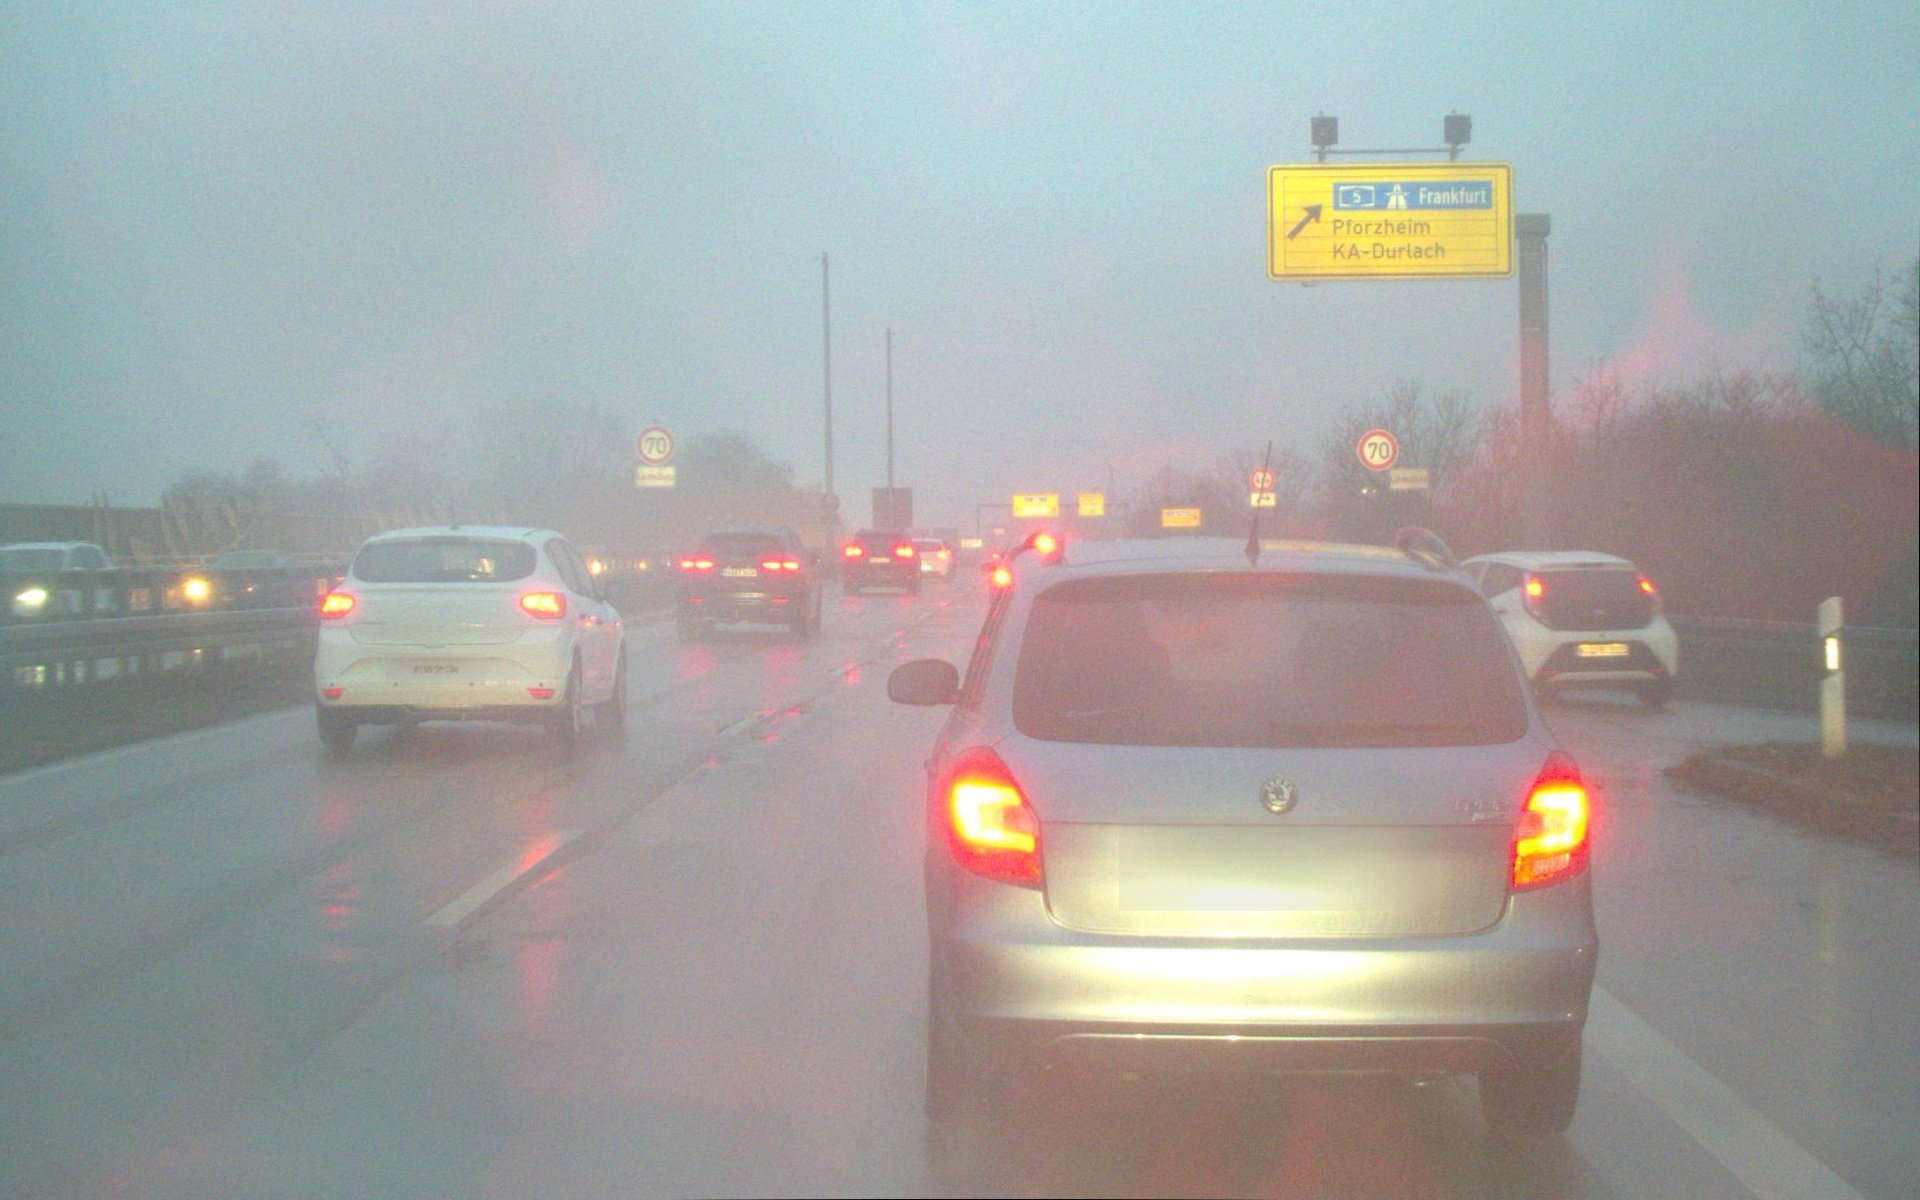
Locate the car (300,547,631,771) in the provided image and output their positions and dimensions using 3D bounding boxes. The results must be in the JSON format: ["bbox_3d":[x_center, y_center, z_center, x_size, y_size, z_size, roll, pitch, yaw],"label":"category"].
[{"bbox_3d":[-3.435,0.352,24.582,1.724,1.435,4.226,0,1,1],"label":"car"}]

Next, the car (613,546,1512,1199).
[{"bbox_3d":[0.277,0.604,9.732,1.993,1.495,4.137,0,1,1],"label":"car"}]

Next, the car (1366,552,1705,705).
[{"bbox_3d":[5.496,0.230,33.344,1.993,1.341,4.001,0,1,-10],"label":"car"}]

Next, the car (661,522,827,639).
[{"bbox_3d":[-3.133,-0.316,50.679,1.993,1.596,4.308,1,1,2],"label":"car"}]

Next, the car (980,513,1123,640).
[{"bbox_3d":[1.282,-0.369,49.792,1.897,1.761,4.309,0,1,-1],"label":"car"}]

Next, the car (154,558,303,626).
[{"bbox_3d":[-15.907,-0.189,74.959,1.786,1.399,4.308,0,1,8],"label":"car"}]

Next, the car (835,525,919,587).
[{"bbox_3d":[-2.074,-1.132,87.065,1.789,1.540,4.000,0,1,4],"label":"car"}]

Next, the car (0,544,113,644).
[{"bbox_3d":[-15.597,-0.134,57.060,1.839,1.557,4.683,1,1,1],"label":"car"}]

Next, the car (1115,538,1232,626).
[{"bbox_3d":[3.898,-0.362,63.340,1.789,1.540,4.000,-1,1,-1],"label":"car"}]
